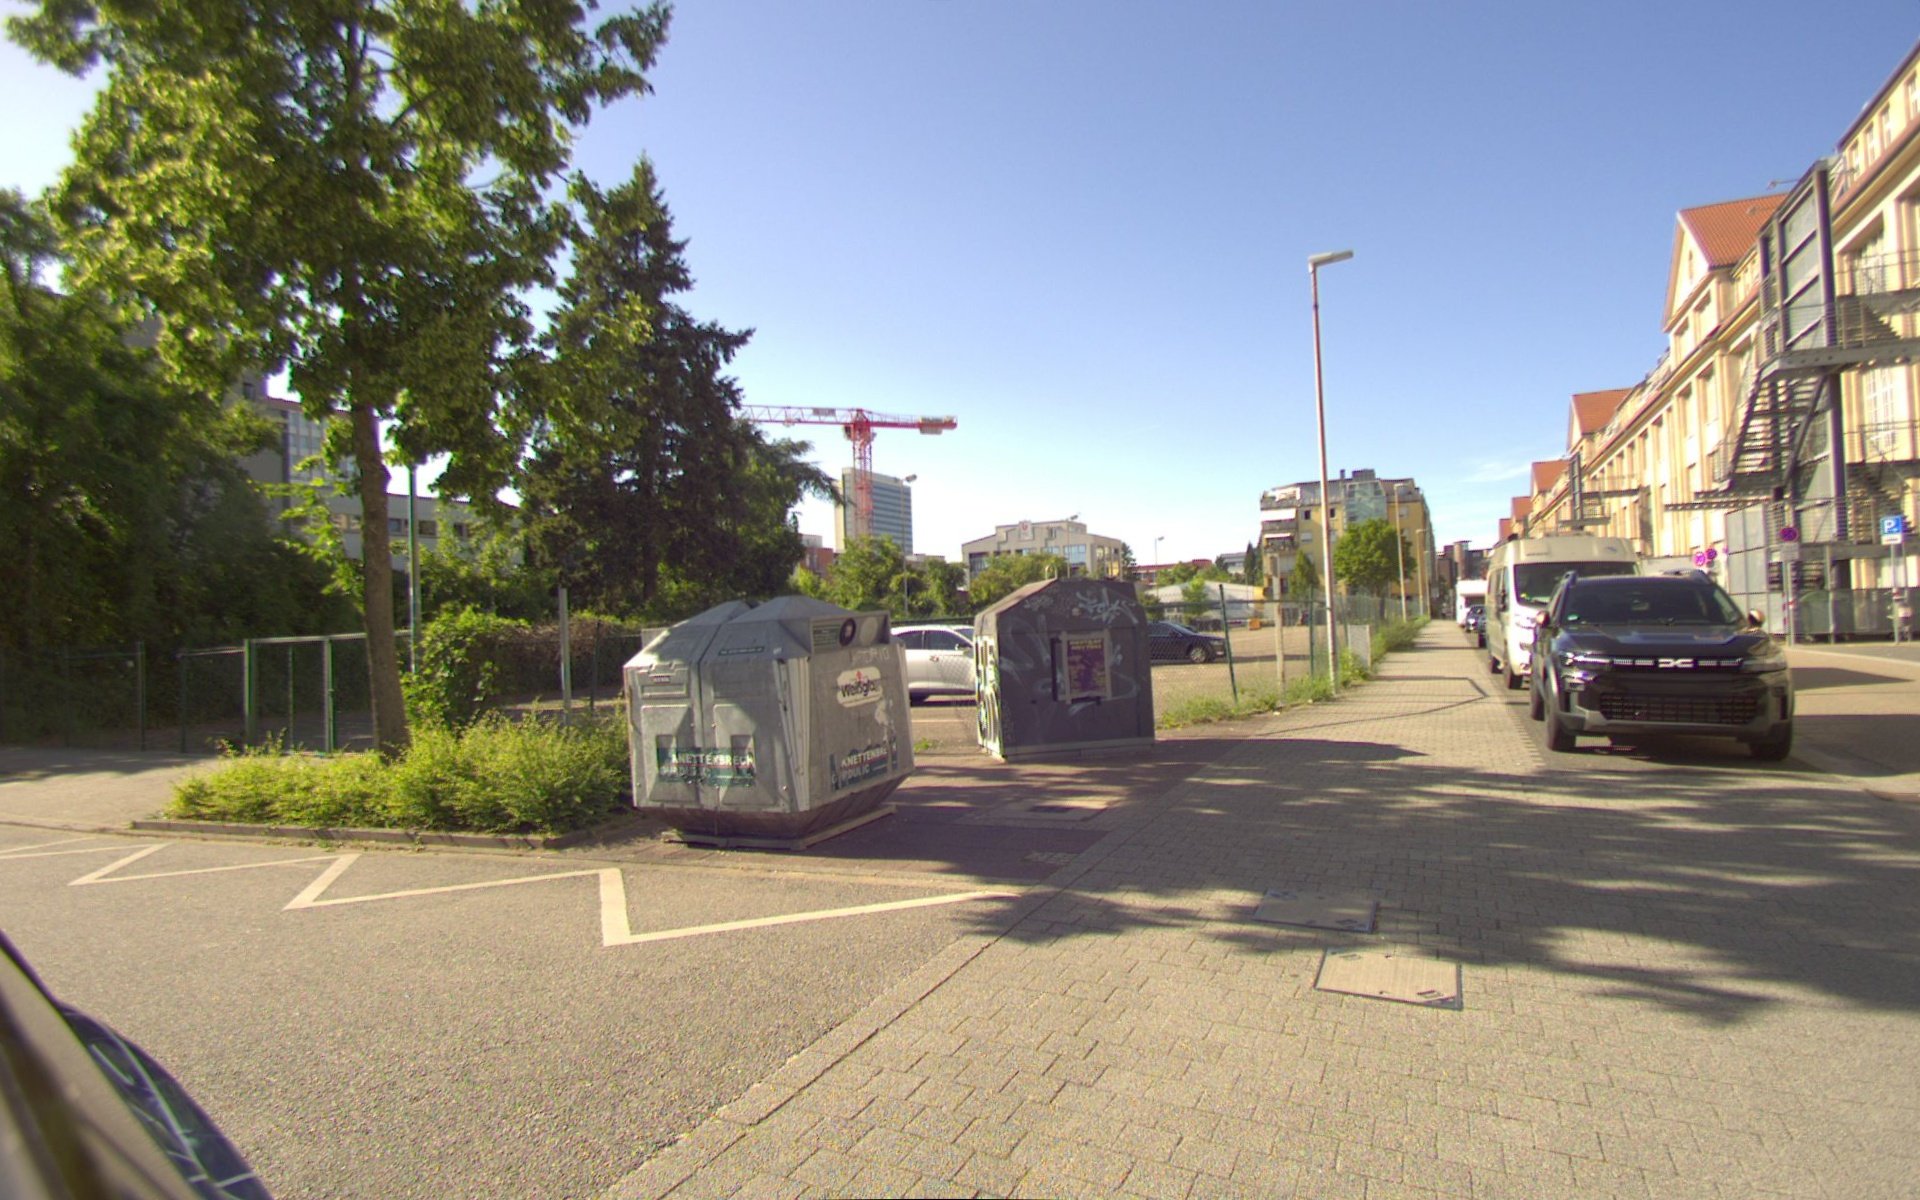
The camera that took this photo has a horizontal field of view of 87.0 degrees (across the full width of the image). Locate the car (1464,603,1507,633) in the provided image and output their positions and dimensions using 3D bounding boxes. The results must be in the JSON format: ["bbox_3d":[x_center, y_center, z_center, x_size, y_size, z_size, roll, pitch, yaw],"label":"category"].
[{"bbox_3d":[26.883,0.895,51.839,1.842,1.436,4.186,-3,-2,27],"label":"car"}]

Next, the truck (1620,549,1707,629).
[{"bbox_3d":[33.501,-0.487,48.409,2.490,3.457,7.059,-3,-1,28],"label":"truck"}]

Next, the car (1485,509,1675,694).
[{"bbox_3d":[10.479,0.084,17.611,2.154,2.616,6.227,-3,-2,27],"label":"car"}]

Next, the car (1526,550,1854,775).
[{"bbox_3d":[6.829,0.526,9.984,1.991,1.708,4.064,-3,-2,28],"label":"car"}]

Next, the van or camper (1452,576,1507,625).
[{"bbox_3d":[32.360,0.034,63.234,2.709,2.879,5.091,-3,-1,25],"label":"van or camper"}]

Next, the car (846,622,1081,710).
[{"bbox_3d":[0.047,1.367,20.799,4.407,1.622,1.980,-4,-2,29],"label":"car"}]

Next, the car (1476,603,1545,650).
[{"bbox_3d":[18.399,0.865,33.975,1.842,1.436,4.186,-3,-2,27],"label":"car"}]

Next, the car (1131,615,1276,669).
[{"bbox_3d":[7.967,1.373,33.203,4.225,1.572,1.879,-4,-2,29],"label":"car"}]

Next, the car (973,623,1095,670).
[{"bbox_3d":[2.810,1.777,38.580,4.220,1.572,1.881,-4,-2,26],"label":"car"}]
